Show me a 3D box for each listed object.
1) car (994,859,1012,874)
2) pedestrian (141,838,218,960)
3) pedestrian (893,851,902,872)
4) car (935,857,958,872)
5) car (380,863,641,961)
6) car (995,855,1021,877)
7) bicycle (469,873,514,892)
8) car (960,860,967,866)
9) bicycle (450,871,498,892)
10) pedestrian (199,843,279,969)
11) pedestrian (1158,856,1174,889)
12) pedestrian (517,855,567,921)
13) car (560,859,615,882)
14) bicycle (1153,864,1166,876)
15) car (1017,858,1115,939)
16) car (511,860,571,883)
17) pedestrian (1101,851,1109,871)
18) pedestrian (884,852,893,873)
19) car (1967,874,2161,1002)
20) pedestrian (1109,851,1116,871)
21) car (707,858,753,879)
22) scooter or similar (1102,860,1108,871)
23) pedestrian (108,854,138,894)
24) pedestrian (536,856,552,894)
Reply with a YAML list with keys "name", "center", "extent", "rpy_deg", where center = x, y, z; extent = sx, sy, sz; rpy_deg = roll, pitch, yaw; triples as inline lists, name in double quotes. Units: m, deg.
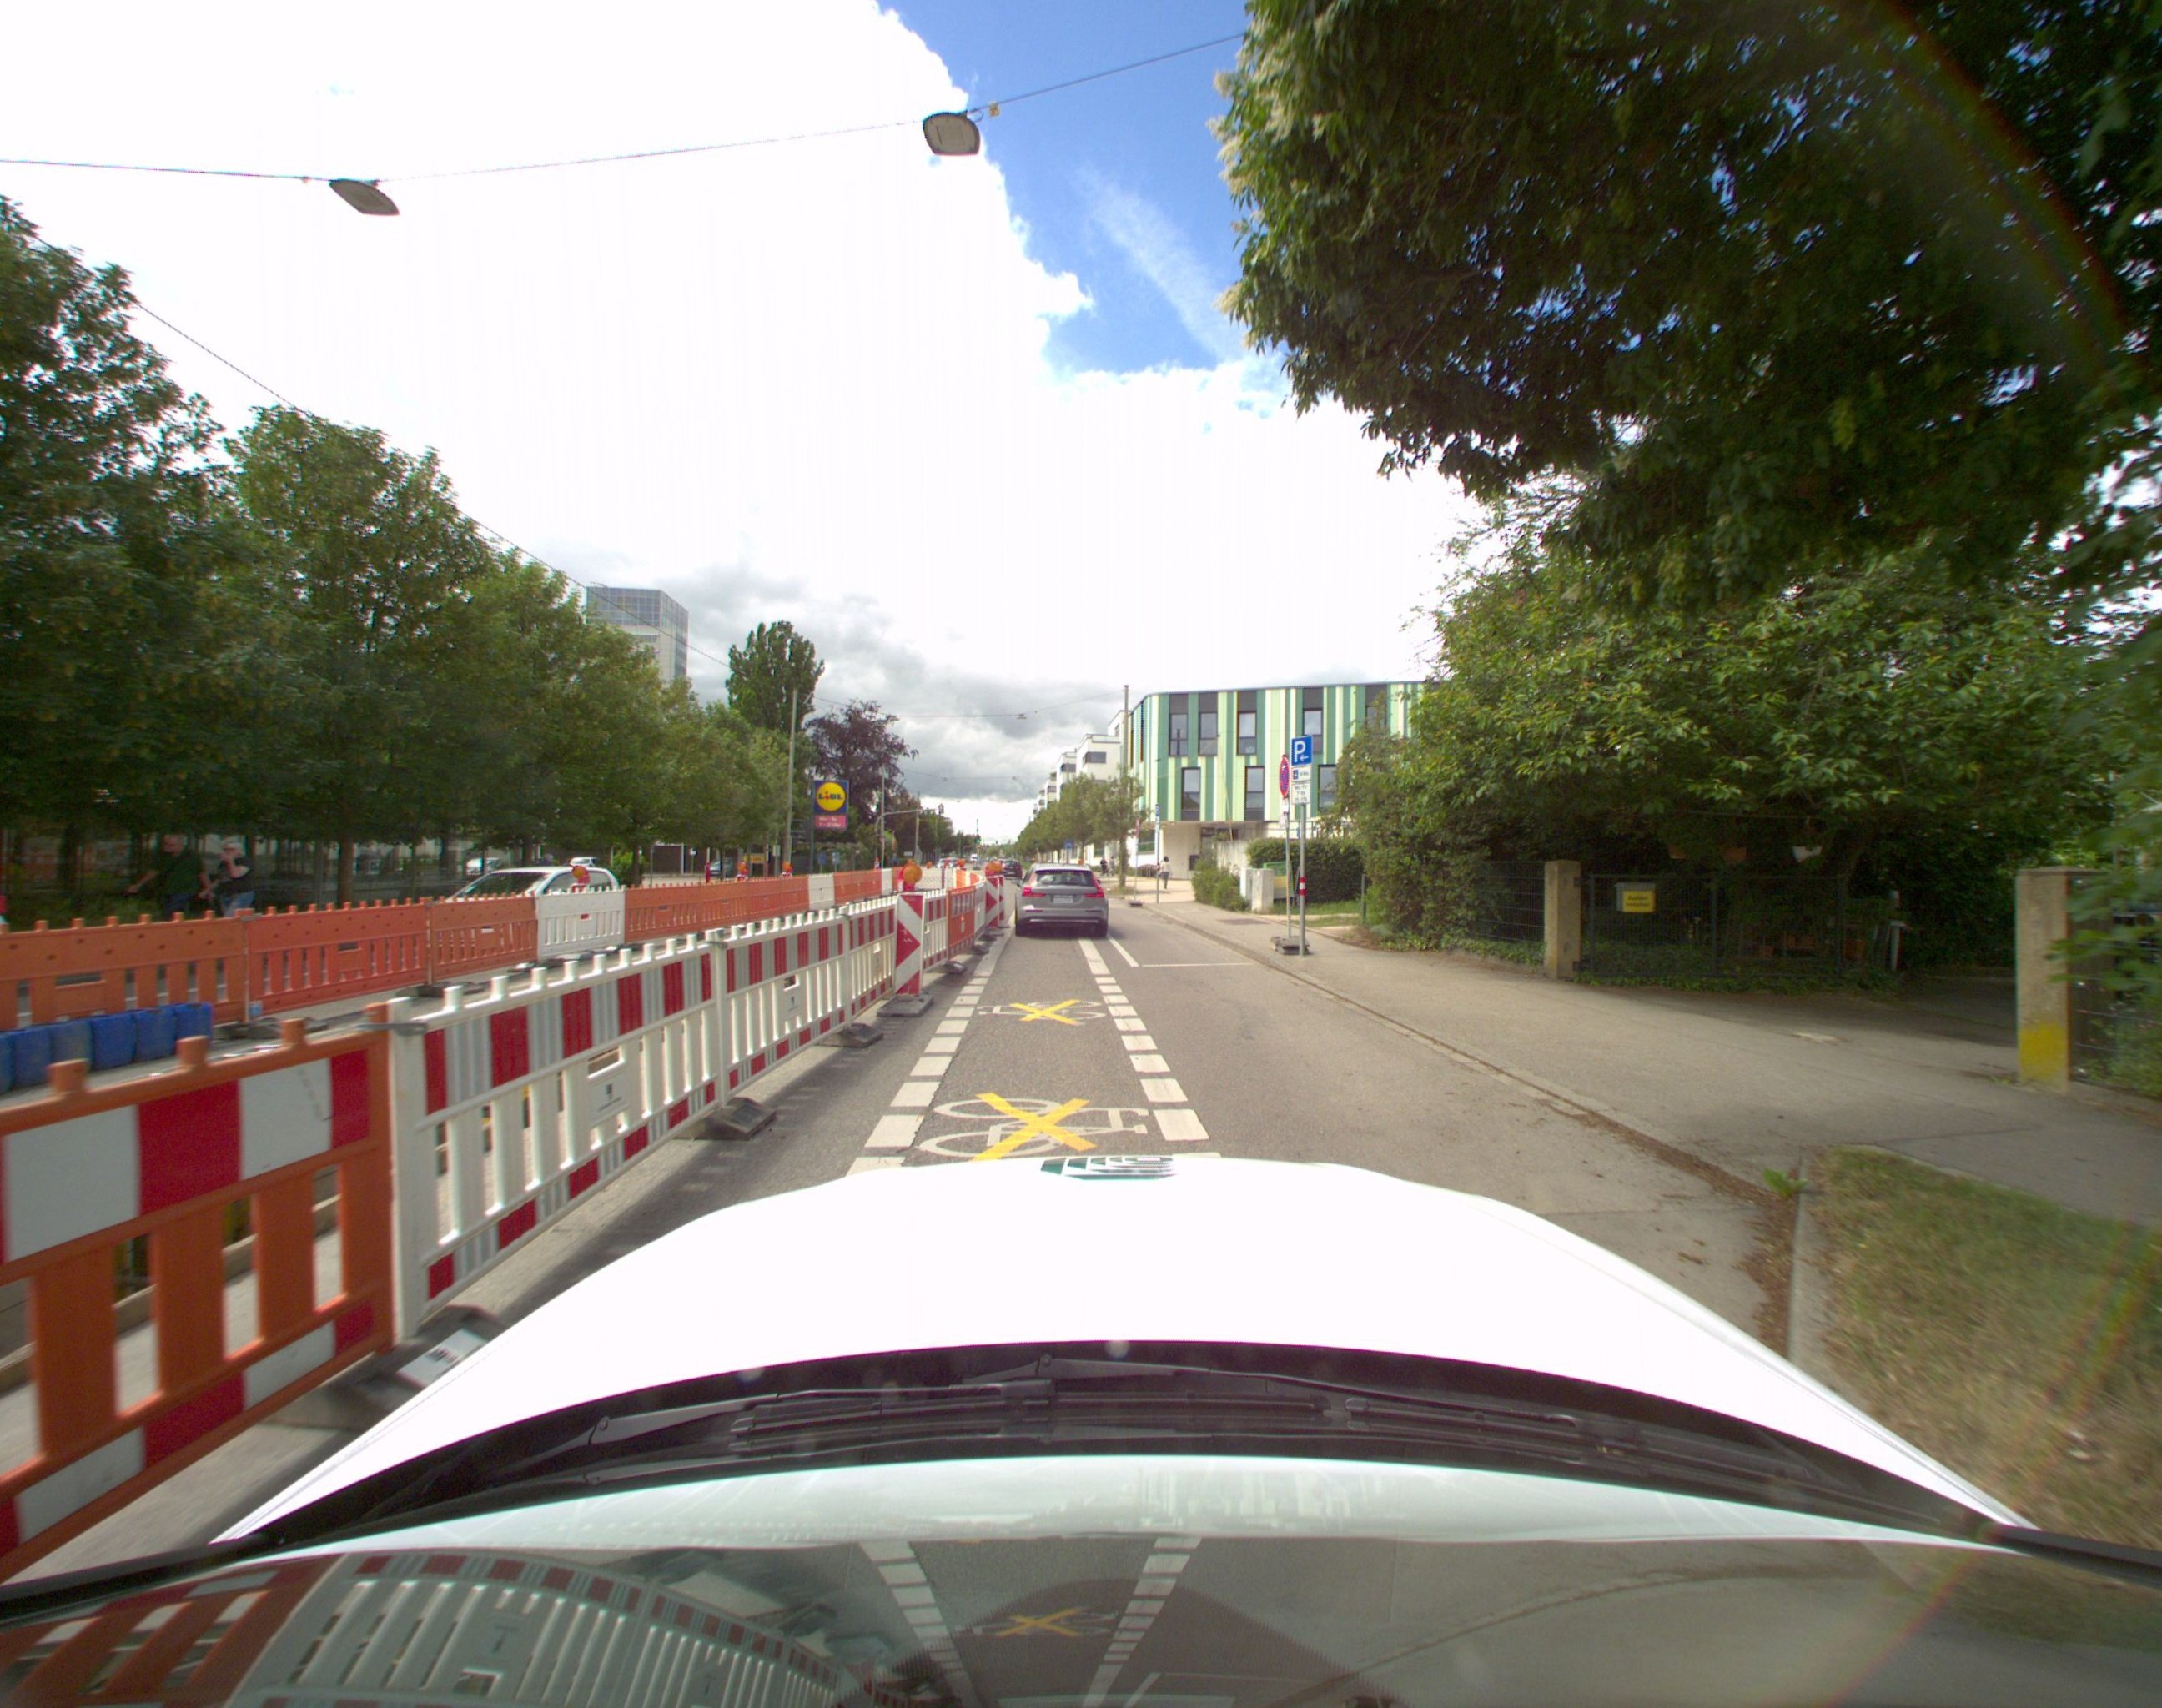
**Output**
- name: "car"
  center: [-8.380, 1.302, 86.926]
  extent: [1.843, 1.513, 3.991]
  rpy_deg: [1, 0, -7]
- name: "pedestrian"
  center: [-14.012, 0.680, 12.660]
  extent: [0.619, 1.847, 0.626]
  rpy_deg: [-1, 0, 22]
- name: "pedestrian"
  center: [-16.326, 0.703, 72.459]
  extent: [0.680, 1.854, 0.890]
  rpy_deg: [0, -1, -6]
- name: "car"
  center: [-14.155, 1.076, 85.587]
  extent: [1.849, 1.513, 3.997]
  rpy_deg: [0, 0, -2]
- name: "car"
  center: [-9.895, 0.926, 14.589]
  extent: [1.849, 1.453, 3.998]
  rpy_deg: [1, 0, -1]
- name: "car"
  center: [-5.514, 0.875, 61.177]
  extent: [1.852, 1.513, 3.991]
  rpy_deg: [1, 0, -7]
- name: "bicycle"
  center: [-31.065, 1.503, 42.950]
  extent: [1.890, 0.957, 0.346]
  rpy_deg: [-1, 0, -29]
- name: "car"
  center: [-29.252, 2.190, 202.640]
  extent: [1.659, 1.515, 3.991]
  rpy_deg: [0, 0, -6]
- name: "bicycle"
  center: [-30.151, 1.372, 40.484]
  extent: [0.344, 0.957, 1.896]
  rpy_deg: [-1, 0, 40]
- name: "pedestrian"
  center: [-12.784, 0.770, 12.367]
  extent: [0.688, 1.847, 0.626]
  rpy_deg: [-1, 0, 22]
- name: "pedestrian"
  center: [4.047, 0.880, 38.882]
  extent: [0.580, 1.551, 0.867]
  rpy_deg: [0, 0, -6]
- name: "pedestrian"
  center: [-13.430, 0.840, 20.323]
  extent: [0.752, 1.603, 0.827]
  rpy_deg: [0, 0, -9]
- name: "car"
  center: [-34.999, 1.135, 57.873]
  extent: [1.994, 1.552, 3.986]
  rpy_deg: [0, 0, -10]
- name: "bicycle"
  center: [5.656, 1.123, 58.445]
  extent: [1.030, 0.842, 0.304]
  rpy_deg: [-1, 0, -39]
- name: "car"
  center: [-0.428, 0.855, 17.484]
  extent: [1.851, 1.513, 3.994]
  rpy_deg: [1, 0, -4]
- name: "car"
  center: [-37.423, 1.173, 56.574]
  extent: [1.994, 1.552, 3.986]
  rpy_deg: [0, 0, -10]
- name: "pedestrian"
  center: [2.027, 0.592, 69.147]
  extent: [0.604, 1.655, 0.551]
  rpy_deg: [0, 0, -7]
- name: "pedestrian"
  center: [-17.115, 0.728, 72.291]
  extent: [0.680, 1.854, 0.705]
  rpy_deg: [0, -1, -6]
- name: "car"
  center: [14.592, 1.078, 11.087]
  extent: [3.998, 1.508, 1.988]
  rpy_deg: [2, -1, -19]
- name: "pedestrian"
  center: [2.639, 0.587, 68.492]
  extent: [0.549, 1.655, 0.605]
  rpy_deg: [0, 0, -7]
- name: "car"
  center: [-25.462, 1.025, 59.229]
  extent: [1.991, 1.453, 3.991]
  rpy_deg: [-1, 0, -6]
- name: "scooter or similar"
  center: [2.003, 0.962, 68.623]
  extent: [0.421, 0.905, 0.680]
  rpy_deg: [0, 0, -6]
- name: "pedestrian"
  center: [-39.695, 0.824, 33.757]
  extent: [0.503, 1.616, 0.605]
  rpy_deg: [0, -1, -7]
- name: "pedestrian"
  center: [-26.509, 1.039, 40.194]
  extent: [0.420, 1.859, 0.610]
  rpy_deg: [-1, 0, -9]
